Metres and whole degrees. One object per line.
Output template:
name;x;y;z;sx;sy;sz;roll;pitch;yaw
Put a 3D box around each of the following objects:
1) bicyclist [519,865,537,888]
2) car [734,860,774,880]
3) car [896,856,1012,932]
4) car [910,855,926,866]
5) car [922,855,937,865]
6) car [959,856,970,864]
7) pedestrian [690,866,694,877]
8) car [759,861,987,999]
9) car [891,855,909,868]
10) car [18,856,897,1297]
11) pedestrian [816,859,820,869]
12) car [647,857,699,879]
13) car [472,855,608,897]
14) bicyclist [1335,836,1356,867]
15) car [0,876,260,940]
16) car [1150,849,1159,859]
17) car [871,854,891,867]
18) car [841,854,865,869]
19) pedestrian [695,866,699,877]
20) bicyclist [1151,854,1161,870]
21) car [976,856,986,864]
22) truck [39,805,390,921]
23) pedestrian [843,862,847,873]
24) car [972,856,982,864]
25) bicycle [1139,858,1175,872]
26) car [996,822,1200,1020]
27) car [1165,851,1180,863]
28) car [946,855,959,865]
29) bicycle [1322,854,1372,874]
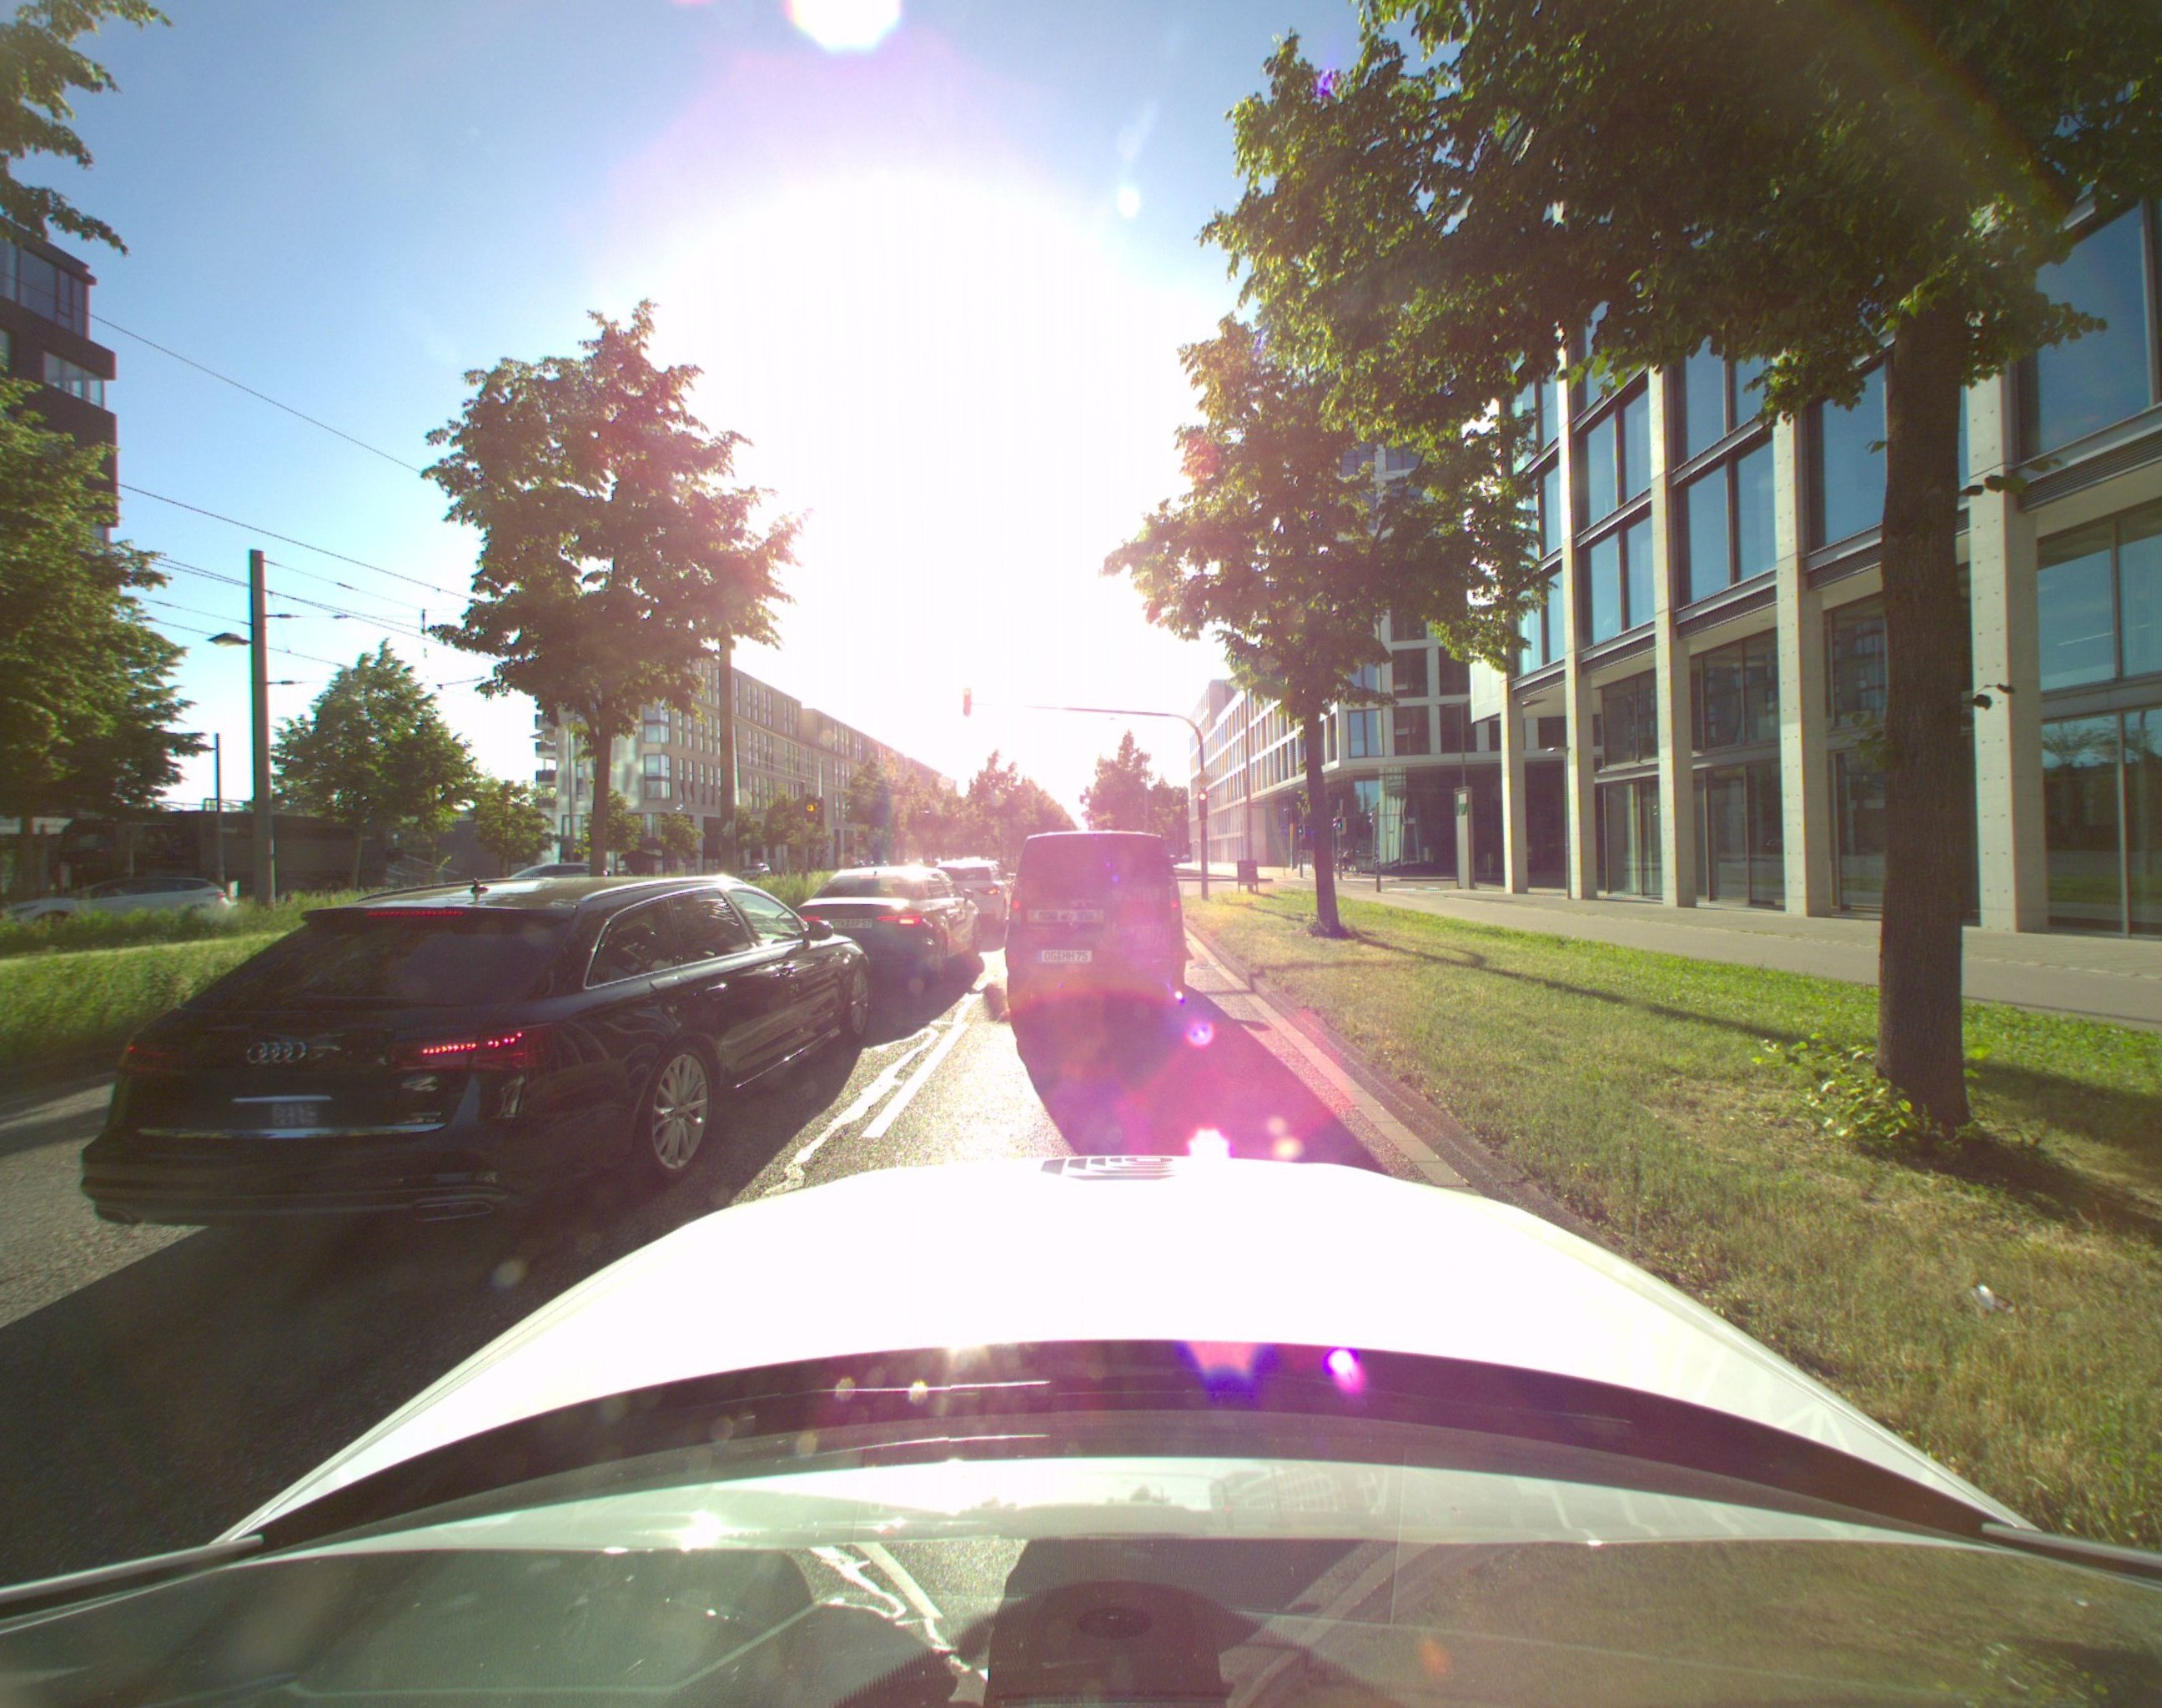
bicyclist;-38.064;1.532;56.039;0.674;1.529;0.714;-1;0;1
car;-31.793;1.534;79.243;1.986;1.814;4.372;-1;0;2
car;-2.634;0.786;17.810;1.797;1.426;3.902;-1;0;2
car;-30.100;1.131;150.282;1.986;2.013;4.002;-1;0;2
car;-29.687;1.186;159.379;1.986;2.013;4.002;-1;0;2
car;-28.603;1.422;200.182;1.986;2.013;4.002;-1;0;2
pedestrian;-40.255;1.828;84.313;0.253;1.085;0.260;-1;0;1
car;-2.516;0.845;11.046;1.835;1.426;4.340;-1;0;2
car;-30.579;1.274;137.454;1.986;2.013;4.002;-1;0;2
car;-2.751;0.787;5.343;1.868;1.484;4.967;-1;0;1
pedestrian;-37.771;1.454;116.976;0.465;1.438;0.385;-1;0;-32
car;-31.041;1.038;62.072;1.758;1.520;4.002;-1;0;2
car;-21.422;0.841;32.402;1.500;1.492;4.243;-1;0;35
bicyclist;16.680;-0.148;51.303;0.989;1.947;0.823;-2;0;43
car;-26.422;1.424;22.750;1.781;1.447;4.597;-1;0;32
car;17.899;0.030;198.177;1.986;2.497;4.988;-1;0;2
car;-30.749;0.986;125.139;1.986;2.013;4.002;-1;0;2
car;-30.875;0.988;110.593;1.986;2.013;4.002;-1;0;2
pedestrian;-39.839;1.844;84.447;0.253;1.085;0.289;-1;0;1
bicyclist;6.030;0.617;65.702;0.679;1.275;0.819;-1;0;-6
car;-27.434;1.568;223.811;1.986;2.013;4.002;-1;0;2
truck;-33.626;0.289;32.644;2.880;3.853;10.217;-1;0;2
pedestrian;-39.375;2.260;135.988;0.466;1.744;0.480;-1;0;1
car;-27.891;1.530;218.194;1.986;2.013;4.002;-1;0;2
bicycle;6.122;0.887;65.709;2.824;1.114;0.821;-1;0;4
car;0.218;0.610;9.455;1.835;1.780;4.002;-1;0;2
car;14.331;0.433;127.856;1.986;1.782;4.002;-1;0;2
car;-28.893;1.328;183.362;1.986;2.013;4.002;-1;0;2
bicycle;16.712;0.639;51.283;2.914;1.190;0.823;-1;0;43
